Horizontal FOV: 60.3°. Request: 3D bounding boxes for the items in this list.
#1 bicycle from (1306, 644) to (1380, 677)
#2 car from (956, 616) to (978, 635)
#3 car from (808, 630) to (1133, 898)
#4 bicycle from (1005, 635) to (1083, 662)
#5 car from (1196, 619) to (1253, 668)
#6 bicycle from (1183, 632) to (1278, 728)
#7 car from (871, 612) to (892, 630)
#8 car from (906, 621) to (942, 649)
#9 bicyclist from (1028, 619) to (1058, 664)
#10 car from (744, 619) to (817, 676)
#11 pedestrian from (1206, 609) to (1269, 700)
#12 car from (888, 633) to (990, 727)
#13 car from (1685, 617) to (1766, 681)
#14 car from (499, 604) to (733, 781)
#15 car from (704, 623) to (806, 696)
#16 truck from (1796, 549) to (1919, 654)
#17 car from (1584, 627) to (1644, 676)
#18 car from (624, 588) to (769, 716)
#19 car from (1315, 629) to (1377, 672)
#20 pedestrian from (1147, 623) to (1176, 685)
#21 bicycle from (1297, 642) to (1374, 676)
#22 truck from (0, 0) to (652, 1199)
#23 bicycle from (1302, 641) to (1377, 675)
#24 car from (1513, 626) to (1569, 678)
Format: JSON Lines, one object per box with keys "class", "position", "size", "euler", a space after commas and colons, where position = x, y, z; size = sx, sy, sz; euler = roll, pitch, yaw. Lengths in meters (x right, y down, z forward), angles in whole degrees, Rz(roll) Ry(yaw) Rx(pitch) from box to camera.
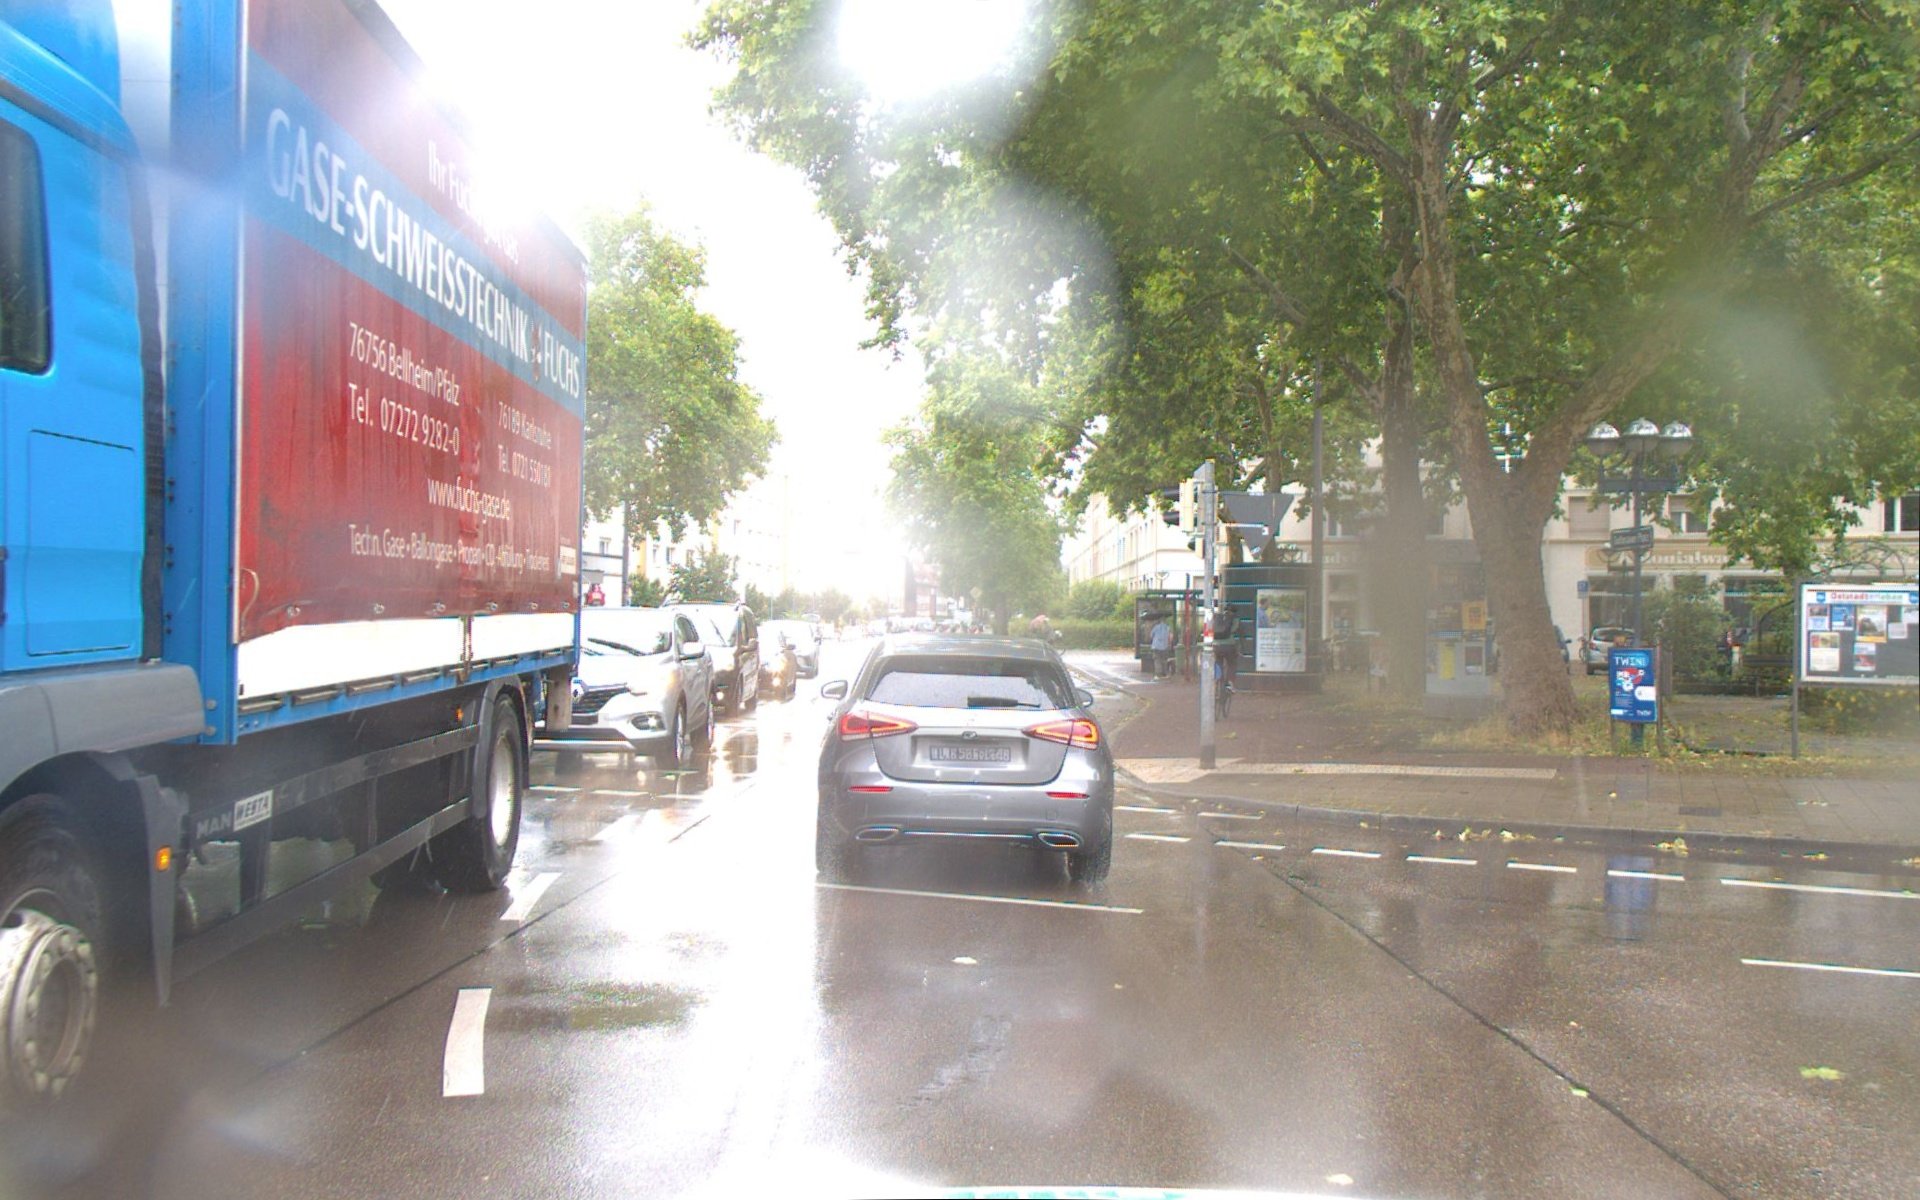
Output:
{"class": "bicycle", "position": [12.108, 1.915, 52.307], "size": [2.200, 0.985, 0.585], "euler": [0, -1, 21]}
{"class": "car", "position": [0.729, 2.579, 165.001], "size": [2.004, 1.868, 4.792], "euler": [0, -1, 2]}
{"class": "car", "position": [0.002, 0.939, 10.883], "size": [1.755, 1.396, 3.505], "euler": [2, -1, -2]}
{"class": "bicycle", "position": [3.581, 2.092, 70.462], "size": [3.159, 1.132, 1.048], "euler": [1, -2, -21]}
{"class": "car", "position": [9.086, 1.519, 56.713], "size": [1.652, 1.578, 3.525], "euler": [0, -3, 13]}
{"class": "bicycle", "position": [4.299, 1.221, 26.113], "size": [0.734, 1.401, 2.704], "euler": [-1, -1, 26]}
{"class": "car", "position": [-8.185, 2.228, 172.244], "size": [1.850, 1.868, 4.001], "euler": [0, -1, 2]}
{"class": "car", "position": [-2.141, 2.052, 96.863], "size": [1.954, 1.601, 3.997], "euler": [1, -1, -3]}
{"class": "bicyclist", "position": [3.538, 1.782, 70.407], "size": [0.924, 1.901, 1.136], "euler": [1, -2, -20]}
{"class": "car", "position": [-5.017, 1.306, 46.685], "size": [1.808, 1.536, 4.053], "euler": [1, -1, -3]}
{"class": "pedestrian", "position": [4.445, 0.861, 26.424], "size": [0.729, 1.422, 1.046], "euler": [-1, -1, 25]}
{"class": "car", "position": [-0.392, 1.271, 27.442], "size": [1.575, 1.396, 3.998], "euler": [0, -1, -2]}
{"class": "car", "position": [23.669, 1.548, 51.248], "size": [2.111, 1.870, 3.998], "euler": [0, -3, 23]}
{"class": "car", "position": [-3.478, 0.886, 17.416], "size": [1.707, 1.632, 3.998], "euler": [1, -1, -2]}
{"class": "car", "position": [-4.306, 1.243, 35.293], "size": [1.707, 1.414, 4.360], "euler": [2, -2, -1]}
{"class": "truck", "position": [25.895, 0.068, 44.041], "size": [6.246, 2.747, 2.268], "euler": [0, -1, 19]}
{"class": "car", "position": [21.034, 1.672, 53.150], "size": [1.646, 1.457, 3.733], "euler": [0, -3, 24]}
{"class": "car", "position": [-4.193, 0.804, 26.890], "size": [1.770, 1.894, 4.108], "euler": [1, -1, -2]}
{"class": "car", "position": [13.007, 1.704, 55.586], "size": [1.550, 1.360, 3.261], "euler": [0, -3, 22]}
{"class": "pedestrian", "position": [5.591, 1.497, 45.973], "size": [0.702, 1.698, 0.665], "euler": [1, -1, -1]}
{"class": "bicycle", "position": [11.521, 1.815, 50.735], "size": [2.234, 1.000, 0.545], "euler": [0, -1, 21]}
{"class": "truck", "position": [-3.450, -0.556, 7.418], "size": [2.789, 4.096, 10.308], "euler": [0, -1, -3]}
{"class": "bicycle", "position": [11.814, 1.801, 51.483], "size": [2.205, 0.985, 0.534], "euler": [0, -1, 21]}
{"class": "car", "position": [18.670, 1.666, 53.235], "size": [1.644, 1.603, 3.737], "euler": [0, -2, 18]}
